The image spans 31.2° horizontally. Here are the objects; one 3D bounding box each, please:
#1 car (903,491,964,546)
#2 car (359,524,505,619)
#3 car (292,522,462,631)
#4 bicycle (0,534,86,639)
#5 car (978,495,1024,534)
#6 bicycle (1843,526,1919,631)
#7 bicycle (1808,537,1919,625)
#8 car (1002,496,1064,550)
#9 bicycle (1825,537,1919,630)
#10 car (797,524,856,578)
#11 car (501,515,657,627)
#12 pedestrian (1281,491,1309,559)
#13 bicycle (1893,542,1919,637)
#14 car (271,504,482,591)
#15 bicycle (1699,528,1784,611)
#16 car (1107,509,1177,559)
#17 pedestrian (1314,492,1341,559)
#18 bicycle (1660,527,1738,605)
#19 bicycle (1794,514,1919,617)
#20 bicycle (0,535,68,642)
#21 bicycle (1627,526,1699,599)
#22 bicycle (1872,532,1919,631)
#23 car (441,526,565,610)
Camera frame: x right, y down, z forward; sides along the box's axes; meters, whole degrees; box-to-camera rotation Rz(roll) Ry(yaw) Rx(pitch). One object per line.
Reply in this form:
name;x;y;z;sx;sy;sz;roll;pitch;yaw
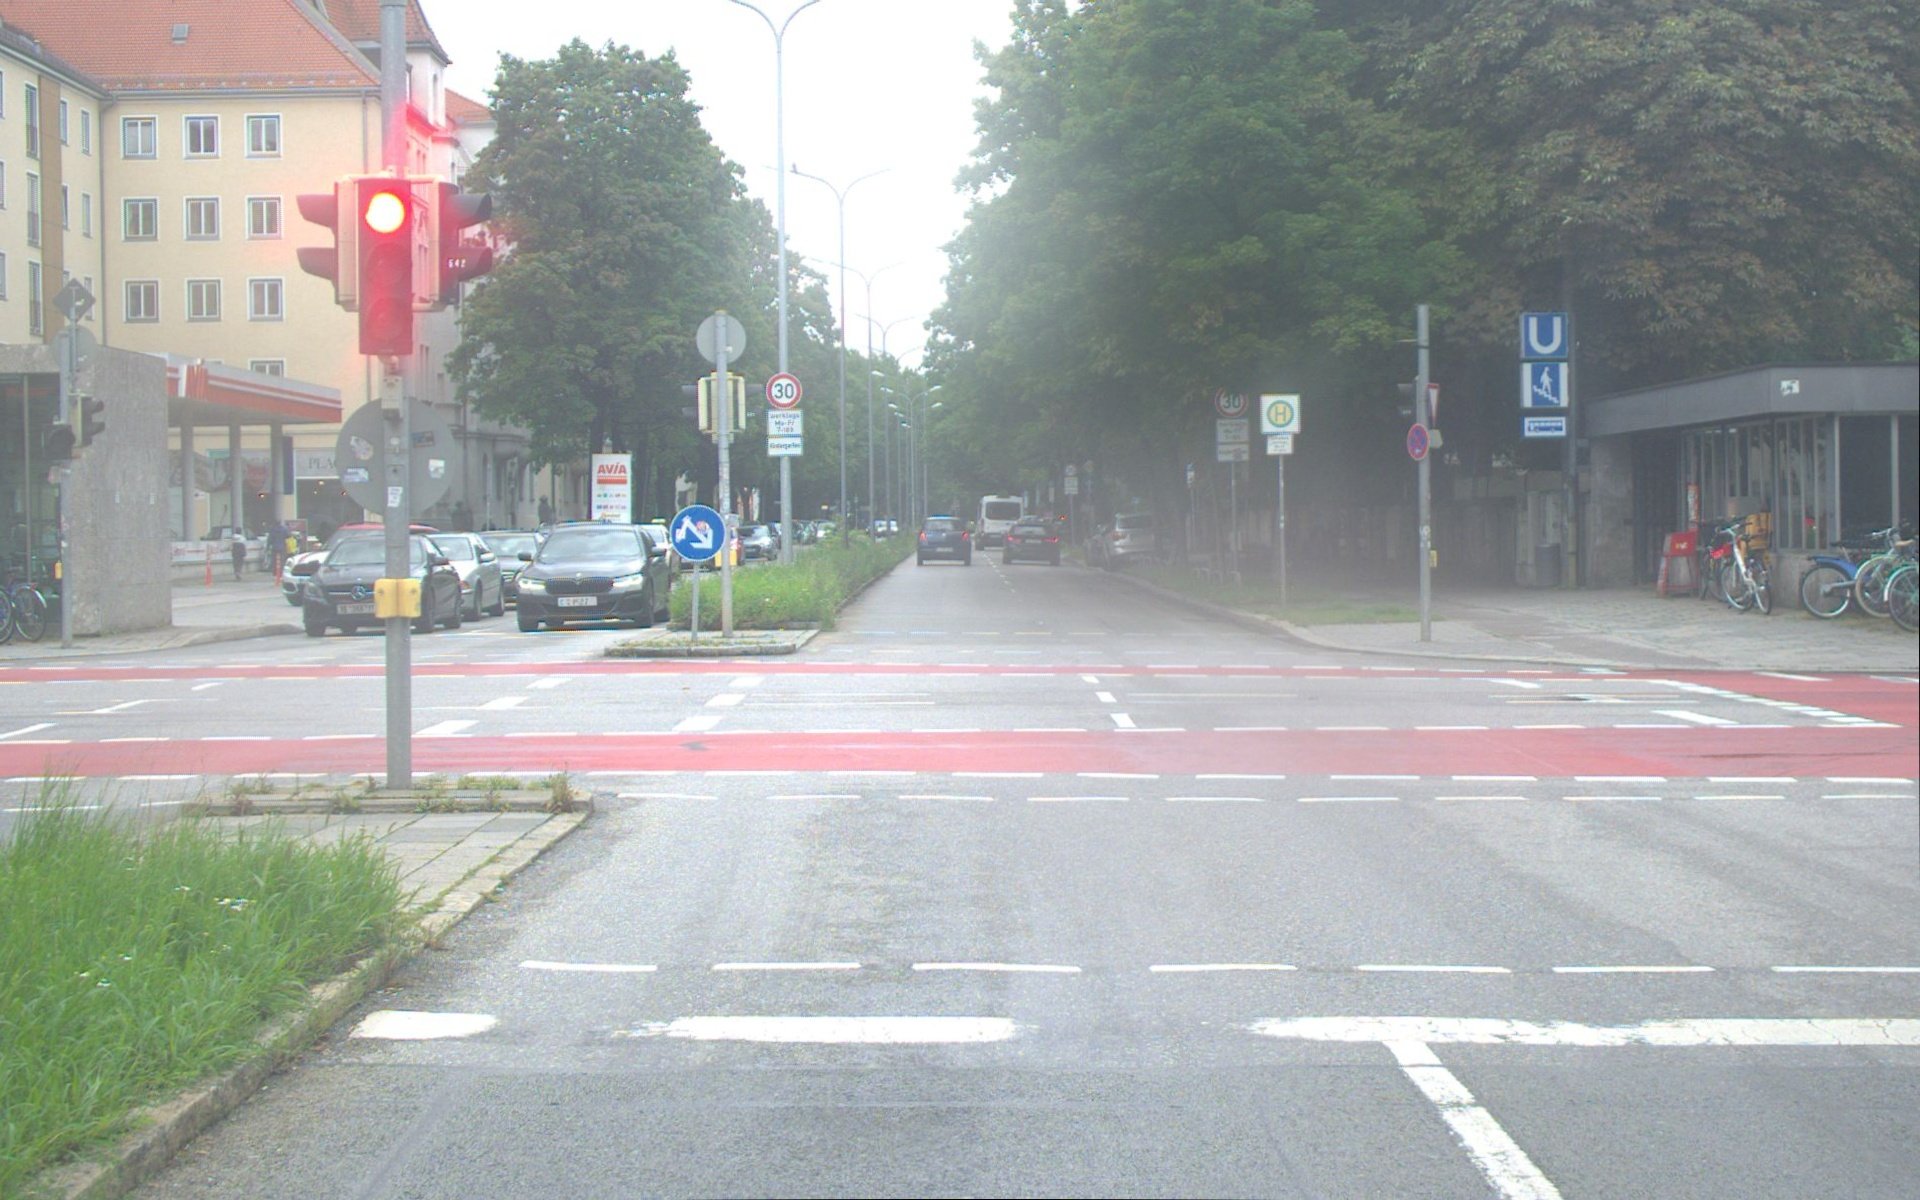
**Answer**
car;-0.812;-2.534;106.561;1.857;1.678;4.000;-1;2;0
car;-8.558;-0.491;55.974;1.760;1.455;4.000;-1;2;0
car;-8.307;-0.368;49.286;1.760;1.455;4.000;-1;2;0
bicycle;-12.291;-0.172;43.473;2.285;1.300;0.694;0;1;1
car;1.883;-3.945;158.174;1.993;1.750;4.000;-1;2;-1
bicycle;11.090;-0.250;38.765;2.144;1.174;0.603;0;1;9
bicycle;11.087;-0.228;40.349;2.144;1.011;0.603;0;1;9
car;2.366;-2.497;112.085;1.923;1.678;4.000;1;1;0
bicycle;11.059;-0.194;39.468;2.144;1.058;0.603;0;1;9
car;-3.594;-1.326;92.885;1.468;1.394;3.700;-1;2;0
car;-5.326;-0.439;48.501;1.760;1.488;4.000;-1;2;0
pedestrian;8.409;-1.881;86.290;0.678;1.677;0.682;0;1;6
bicycle;11.264;-0.122;37.298;2.144;1.011;0.603;0;1;9
car;-11.198;-1.038;66.216;1.814;1.603;3.960;0;2;32
bicycle;9.900;-0.397;43.592;0.556;1.011;2.016;-1;2;-2
car;5.118;-1.873;97.173;1.743;1.358;3.807;-1;2;0
pedestrian;9.230;-1.870;86.340;0.678;1.677;0.682;0;1;6
bicycle;9.950;-0.466;46.324;0.556;1.011;2.016;-1;2;-2
bicycle;11.085;-0.421;41.064;2.144;1.214;0.603;0;1;9
bicycle;-12.315;-0.142;42.694;2.271;1.300;0.704;0;1;1
bicycle;10.154;-0.552;49.703;0.556;1.011;2.016;-1;2;-2
bicycle;11.222;-0.209;38.026;2.144;1.082;0.603;0;1;9
car;-8.341;-0.617;63.027;1.760;1.455;4.000;-1;2;0
